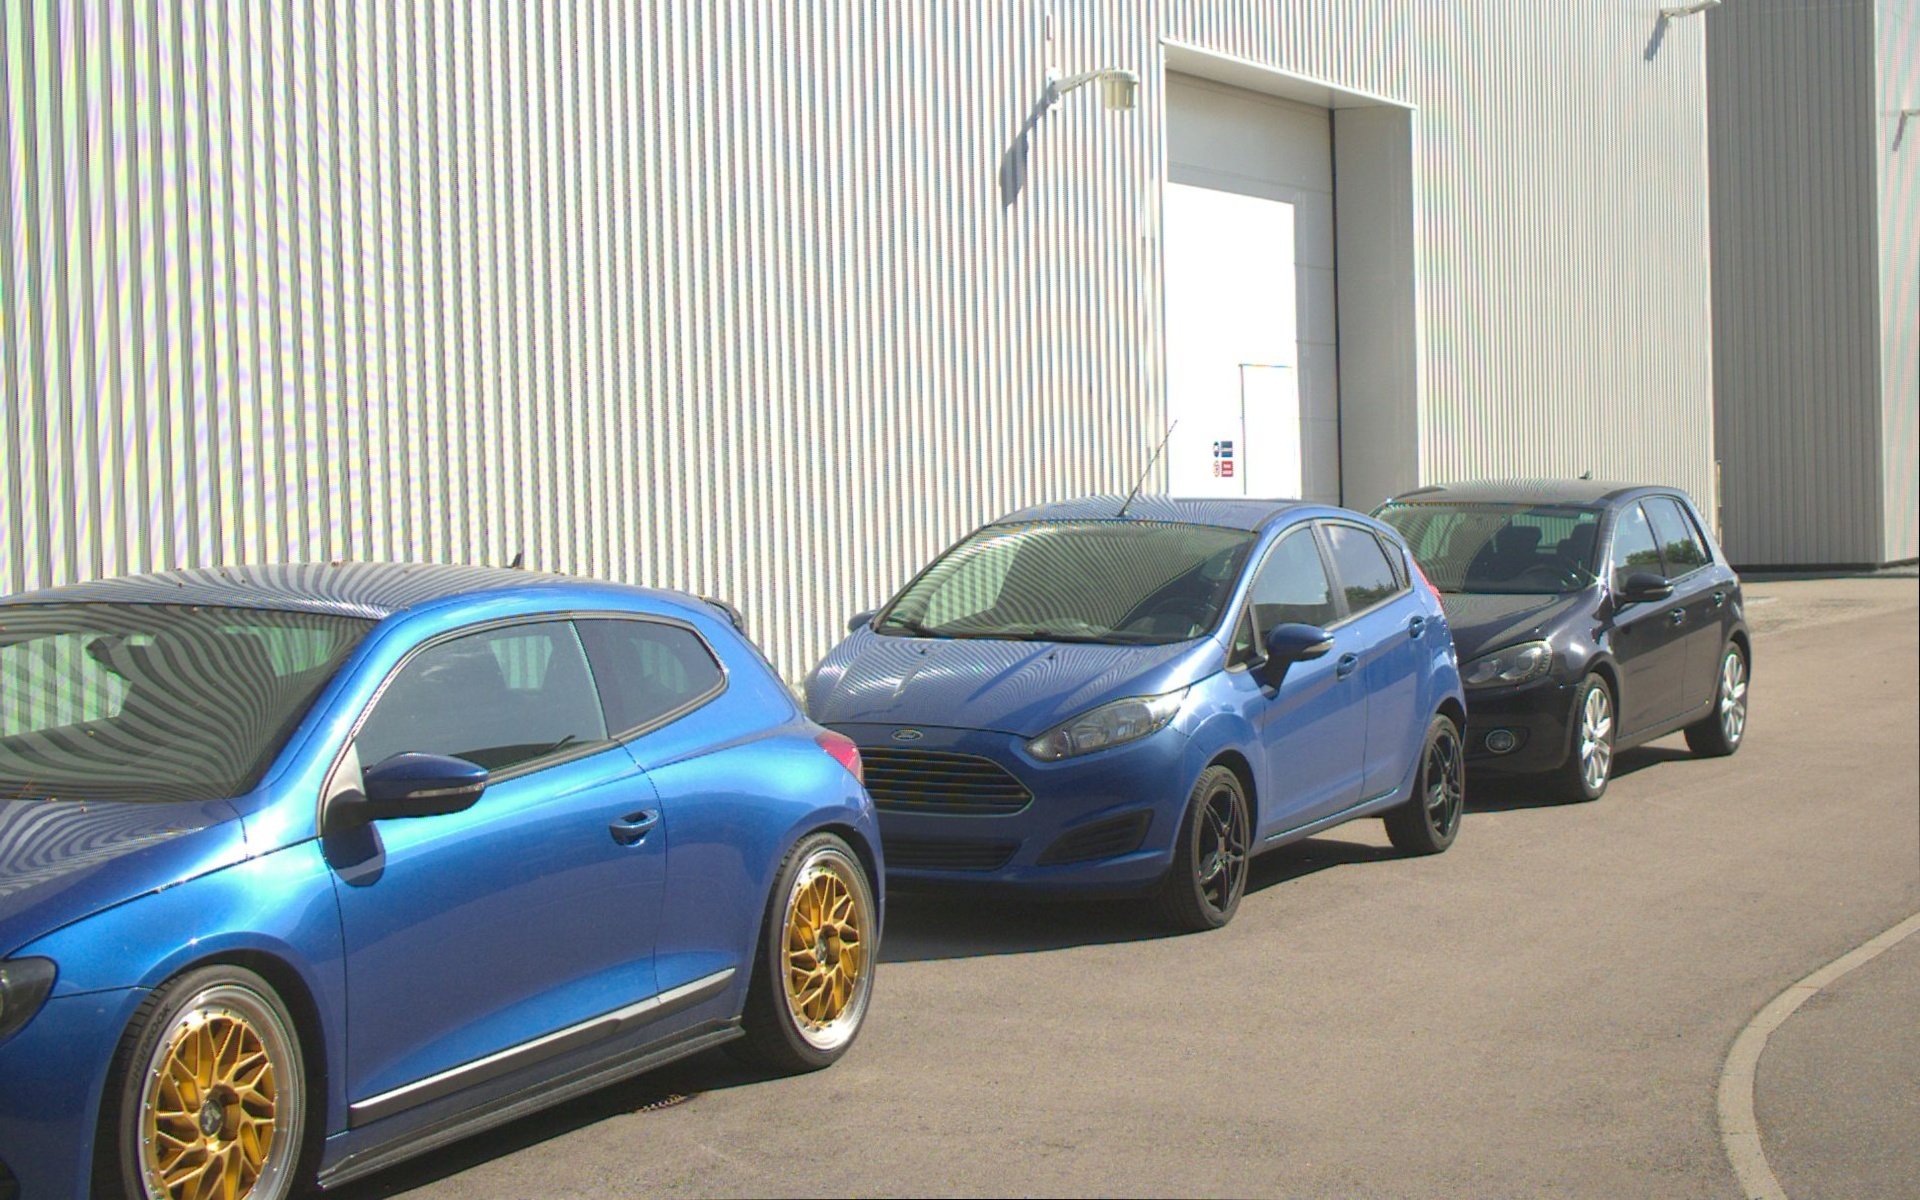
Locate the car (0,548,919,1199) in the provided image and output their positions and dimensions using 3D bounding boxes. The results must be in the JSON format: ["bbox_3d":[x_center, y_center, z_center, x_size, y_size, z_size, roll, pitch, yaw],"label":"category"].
[{"bbox_3d":[-1.808,0.615,8.010,1.752,1.379,4.163,0,2,25],"label":"car"}]

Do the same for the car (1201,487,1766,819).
[{"bbox_3d":[2.758,0.167,17.389,1.752,1.413,3.893,2,3,25],"label":"car"}]

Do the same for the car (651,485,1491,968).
[{"bbox_3d":[0.585,0.333,13.013,1.752,1.468,3.893,2,3,25],"label":"car"}]
